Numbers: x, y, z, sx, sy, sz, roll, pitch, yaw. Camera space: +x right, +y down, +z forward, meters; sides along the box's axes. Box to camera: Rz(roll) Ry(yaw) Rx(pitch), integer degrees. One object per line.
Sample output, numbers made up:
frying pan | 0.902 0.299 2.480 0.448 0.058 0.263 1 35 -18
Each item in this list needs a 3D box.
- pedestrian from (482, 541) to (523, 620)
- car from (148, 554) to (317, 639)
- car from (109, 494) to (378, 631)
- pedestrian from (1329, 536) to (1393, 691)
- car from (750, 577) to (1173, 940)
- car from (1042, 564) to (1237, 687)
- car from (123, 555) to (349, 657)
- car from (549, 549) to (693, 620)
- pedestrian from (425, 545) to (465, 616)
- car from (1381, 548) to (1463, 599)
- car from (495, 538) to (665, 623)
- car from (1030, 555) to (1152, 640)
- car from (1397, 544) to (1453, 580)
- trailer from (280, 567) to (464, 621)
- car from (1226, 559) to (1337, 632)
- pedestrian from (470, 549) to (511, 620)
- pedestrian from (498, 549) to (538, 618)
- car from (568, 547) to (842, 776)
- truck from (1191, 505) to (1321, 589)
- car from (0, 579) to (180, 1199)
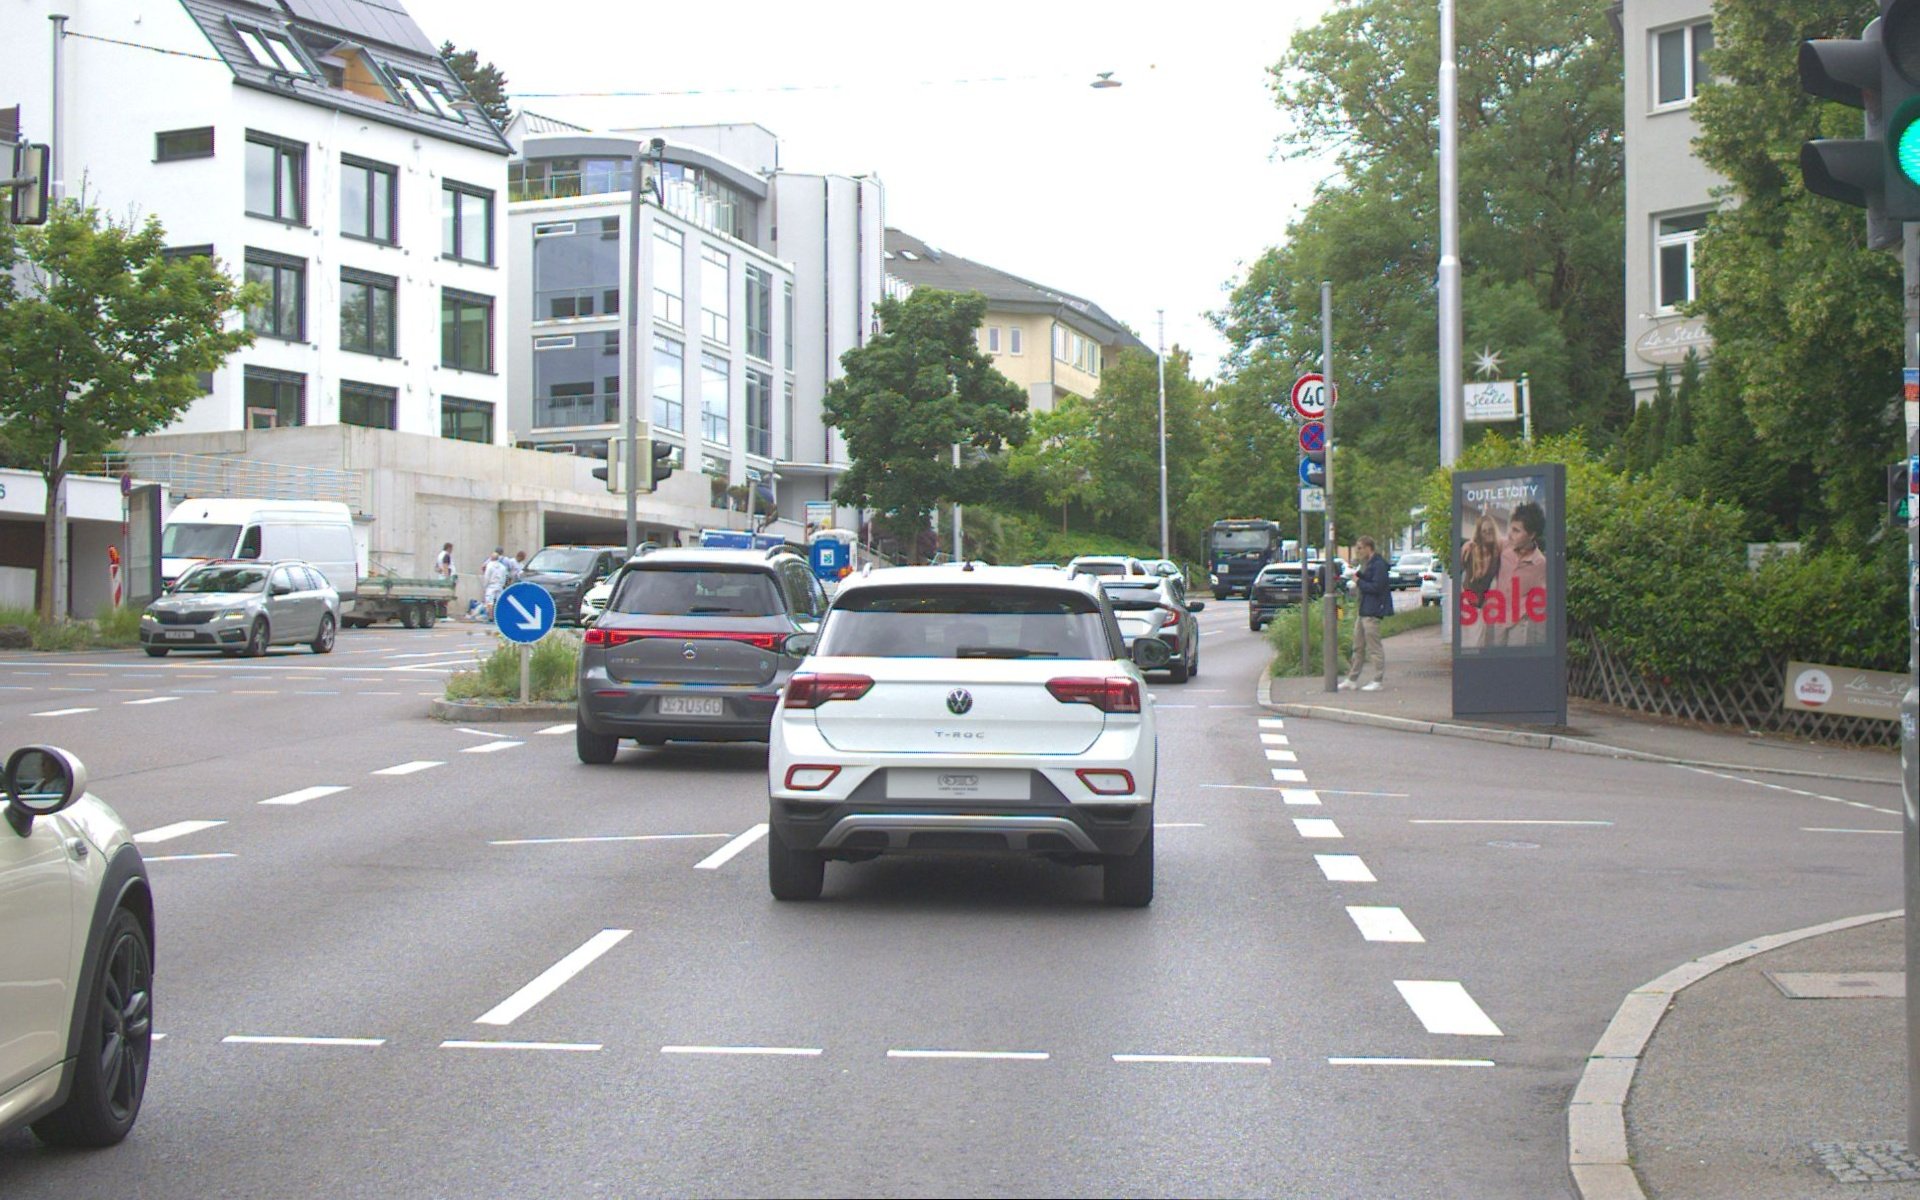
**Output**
pedestrian | -10.828 -0.470 81.363 0.674 1.834 0.672 2 1 -34
car | -12.956 -0.082 61.460 1.622 1.460 3.925 0 1 10
car | -14.028 -0.753 67.963 2.233 2.559 7.417 0 1 14
pedestrian | 4.813 0.154 41.283 0.693 1.827 0.620 2 0 6
car | -0.103 0.671 16.732 1.811 1.534 3.690 -1 1 -4
car | 2.508 0.337 46.856 1.874 1.496 4.552 3 1 12
car | -10.931 0.063 52.234 1.652 1.444 4.564 1 1 12
car | -7.180 -0.319 73.187 1.652 1.388 4.141 3 1 14
pedestrian | -11.998 -0.456 80.060 0.626 1.634 0.671 2 1 20
car | 13.900 -0.818 103.284 1.859 1.495 4.052 0 1 16
car | -8.955 -0.480 81.483 1.984 1.960 5.213 0 1 19
car | 2.685 -0.074 69.545 1.859 1.646 4.634 0 1 10
car | 19.544 -1.599 144.345 1.697 1.491 4.483 1 1 16
trailer | -12.572 -0.145 73.802 2.248 1.108 4.619 0 1 14
car | 7.220 -0.094 76.775 1.874 1.496 4.552 3 1 12
pedestrian | -10.957 -0.364 80.226 0.674 1.634 0.672 2 1 -34
pedestrian | -10.600 -0.396 82.443 0.674 1.634 0.672 2 1 -34
car | -1.922 0.419 27.202 1.813 1.646 4.636 0 1 0
truck | 11.047 -1.936 127.521 2.963 2.961 8.971 1 1 17
car | -2.969 0.667 7.448 1.628 1.388 3.566 0 1 2
